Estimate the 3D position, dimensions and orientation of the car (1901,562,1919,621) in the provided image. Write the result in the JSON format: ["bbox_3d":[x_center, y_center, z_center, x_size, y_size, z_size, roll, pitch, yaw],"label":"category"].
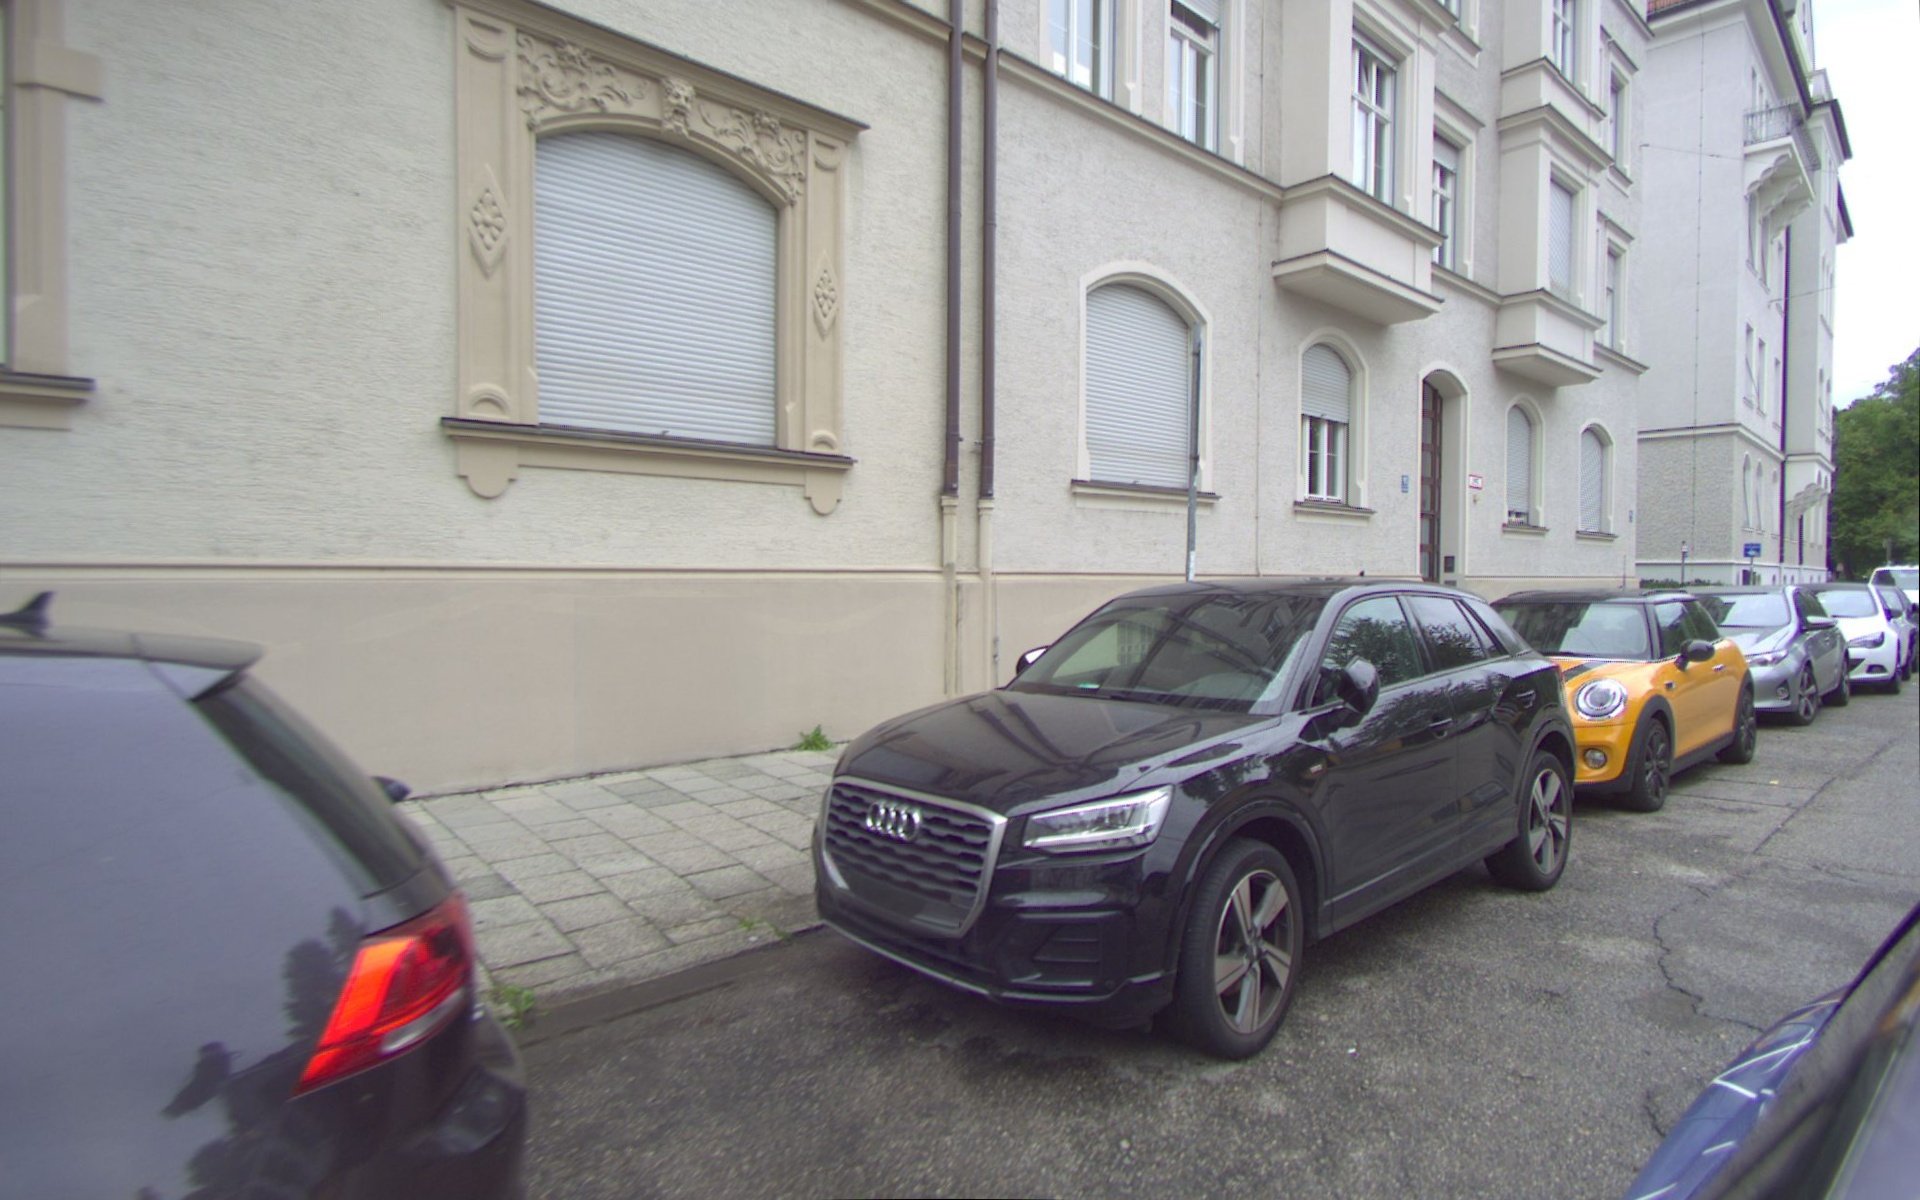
[{"bbox_3d":[31.143,-0.285,32.039,4.019,1.809,1.790,-1,1,-44],"label":"car"}]

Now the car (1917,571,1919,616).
[{"bbox_3d":[37.970,-0.268,38.710,4.018,1.669,1.790,-1,1,-44],"label":"car"}]

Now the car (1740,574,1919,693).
[{"bbox_3d":[12.697,0.390,14.615,4.018,1.489,1.712,-1,1,-44],"label":"car"}]

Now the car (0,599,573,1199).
[{"bbox_3d":[-2.550,0.753,0.750,3.930,1.435,1.645,-1,1,-41],"label":"car"}]

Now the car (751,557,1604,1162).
[{"bbox_3d":[1.227,0.618,4.509,3.889,1.535,1.746,-1,2,-41],"label":"car"}]

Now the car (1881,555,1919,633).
[{"bbox_3d":[25.827,-0.172,26.870,4.018,1.962,1.790,-1,1,-44],"label":"car"}]

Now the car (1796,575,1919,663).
[{"bbox_3d":[16.373,0.276,18.139,4.018,1.408,1.712,-1,1,-44],"label":"car"}]

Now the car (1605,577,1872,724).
[{"bbox_3d":[9.037,0.454,11.638,3.931,1.408,1.713,-1,1,-41],"label":"car"}]

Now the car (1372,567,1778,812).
[{"bbox_3d":[4.876,0.503,7.861,3.534,1.458,1.660,-1,2,-41],"label":"car"}]
